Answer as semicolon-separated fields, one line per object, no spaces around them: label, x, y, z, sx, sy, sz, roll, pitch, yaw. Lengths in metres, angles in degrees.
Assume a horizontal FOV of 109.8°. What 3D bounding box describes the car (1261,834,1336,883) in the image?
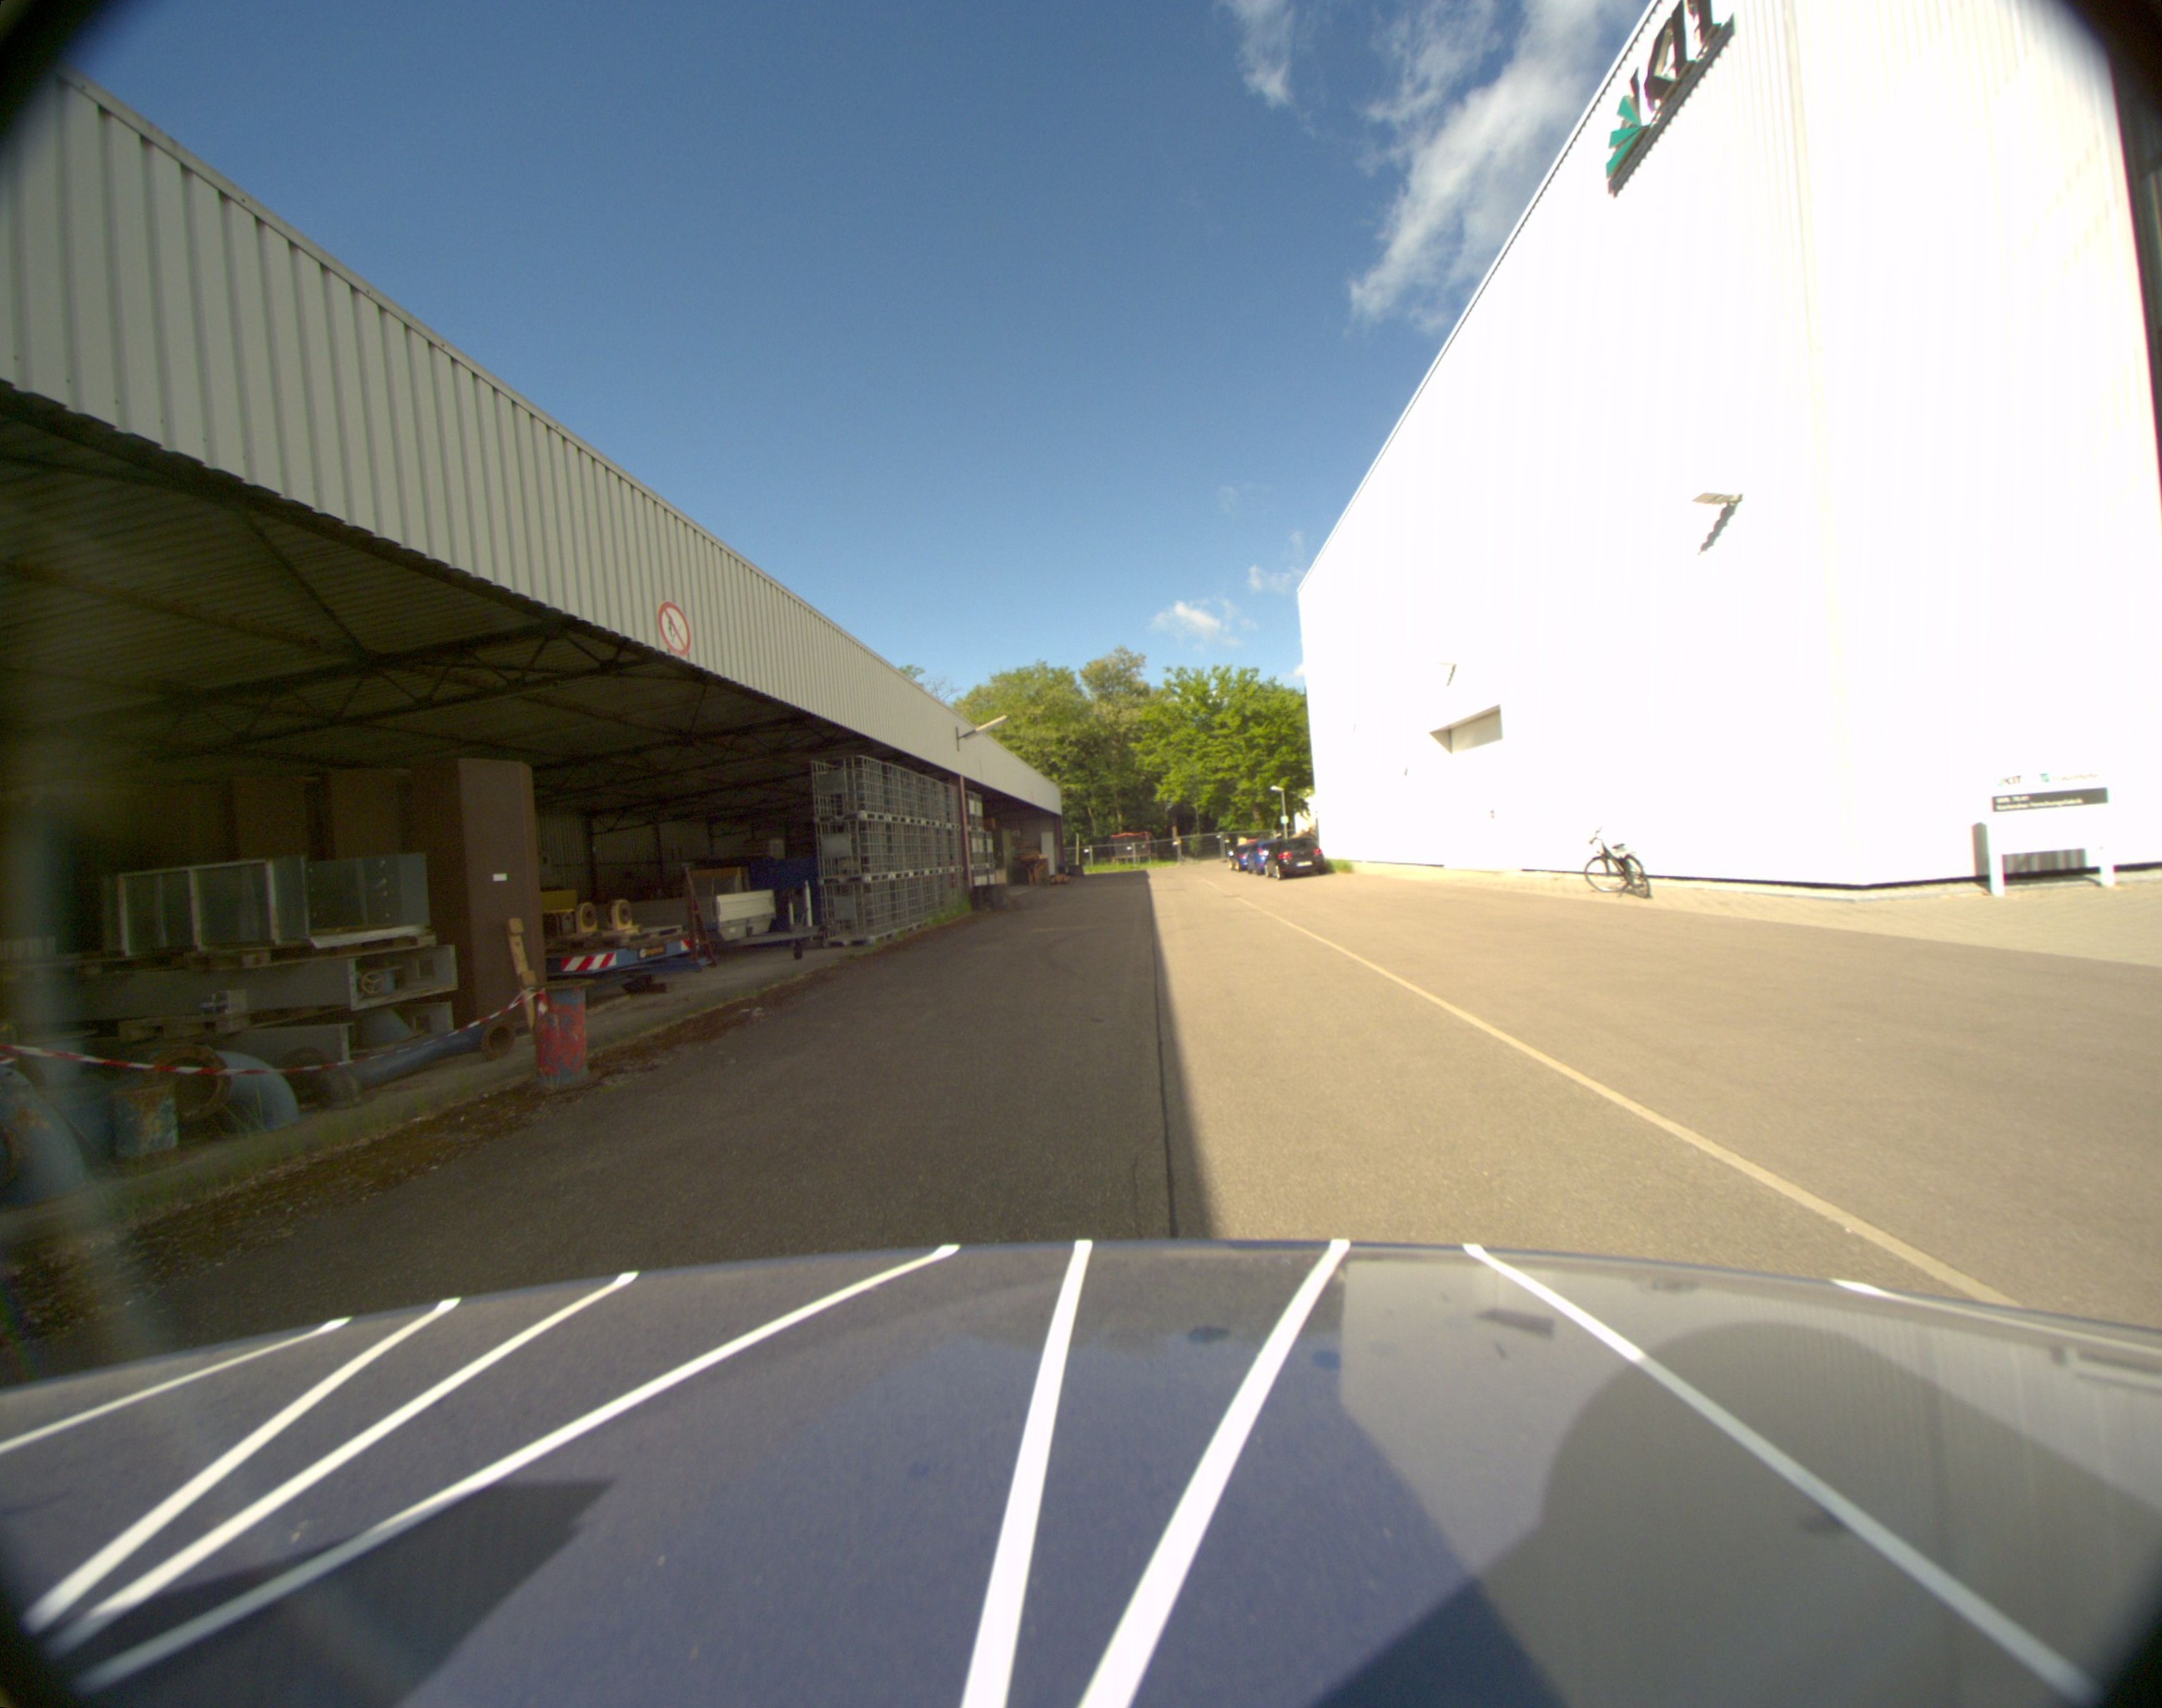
car;8.057;0.127;28.524;1.894;1.513;4.001;-7;0;7

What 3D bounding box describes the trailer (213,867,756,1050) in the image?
trailer;-6.784;1.145;9.040;4.878;1.619;2.029;-4;1;4

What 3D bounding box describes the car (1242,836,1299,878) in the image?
car;8.355;0.097;33.769;1.789;1.513;4.001;-7;0;7

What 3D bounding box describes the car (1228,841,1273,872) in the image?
car;8.692;0.081;39.209;1.789;1.432;4.001;-4;1;7

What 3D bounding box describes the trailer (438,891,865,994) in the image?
trailer;-6.778;1.389;12.404;5.835;1.113;2.030;-4;0;4

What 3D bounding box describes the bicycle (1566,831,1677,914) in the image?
bicycle;8.808;0.268;12.489;0.909;1.136;1.901;-7;1;20
